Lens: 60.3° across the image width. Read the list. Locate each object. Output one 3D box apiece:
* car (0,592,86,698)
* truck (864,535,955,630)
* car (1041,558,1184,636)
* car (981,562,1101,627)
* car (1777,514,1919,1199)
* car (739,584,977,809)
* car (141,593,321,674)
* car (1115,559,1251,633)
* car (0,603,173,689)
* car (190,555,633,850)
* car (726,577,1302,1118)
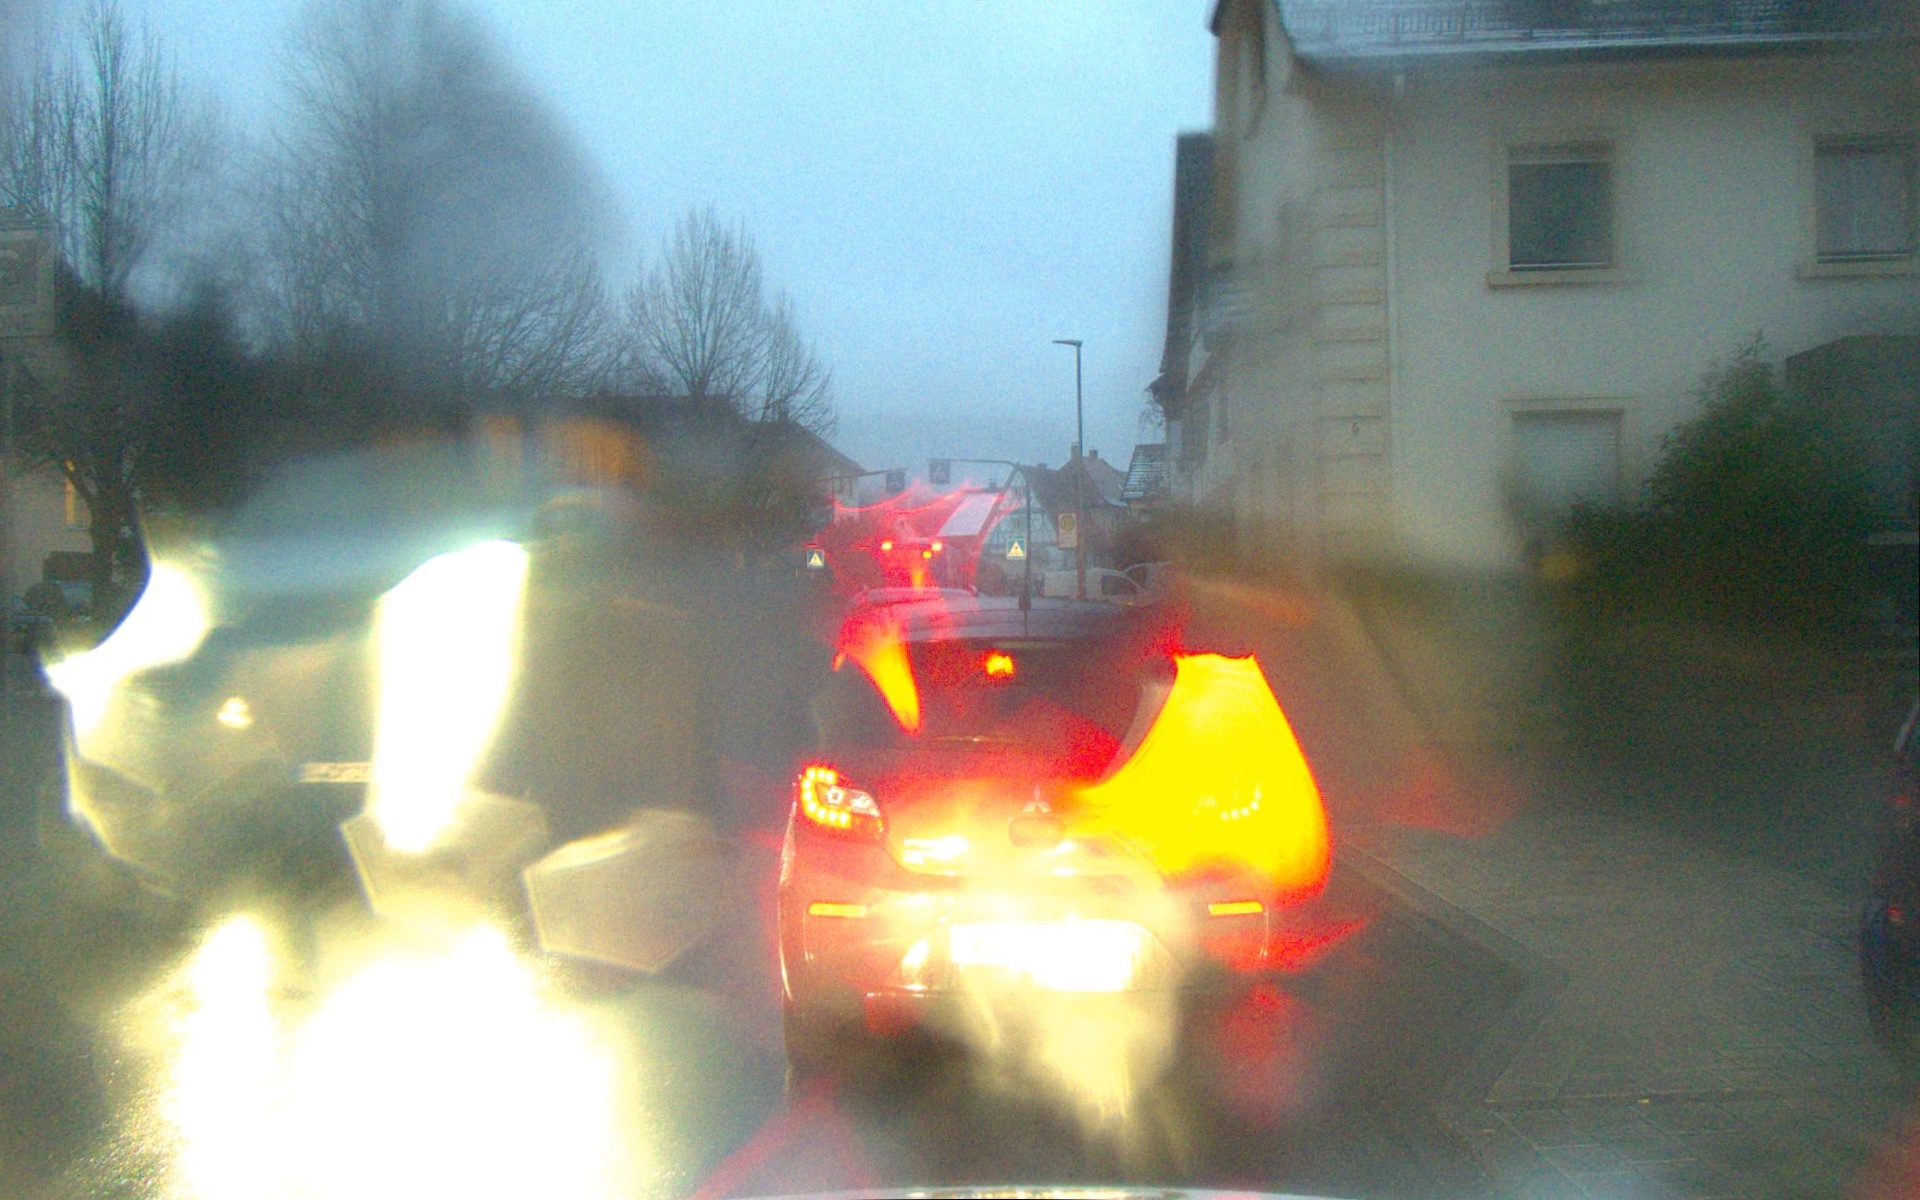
[{"bbox_3d":[-19.810,0.869,33.217,3.903,2.023,1.820,0,0,19],"label":"car"},{"bbox_3d":[-1.703,-0.616,59.676,2.953,3.183,8.001,0,0,1],"label":"truck"},{"bbox_3d":[4.427,-0.080,47.948,4.010,2.200,1.915,0,0,6],"label":"car"},{"bbox_3d":[2.809,-0.195,56.957,4.010,2.189,1.915,0,0,6],"label":"car"},{"bbox_3d":[4.028,0.570,3.513,3.795,1.607,1.680,-1,0,-6],"label":"car"},{"bbox_3d":[-0.751,0.640,12.844,1.605,1.507,3.270,0,1,-2],"label":"car"},{"bbox_3d":[-18.182,0.803,41.300,3.903,1.944,1.820,0,0,19],"label":"car"},{"bbox_3d":[6.755,-0.134,50.254,4.010,2.189,1.915,0,0,6],"label":"car"},{"bbox_3d":[-19.400,0.964,36.020,3.903,1.760,1.820,0,1,19],"label":"car"},{"bbox_3d":[-3.489,0.542,11.424,1.774,1.624,4.397,0,1,-3],"label":"car"},{"bbox_3d":[0.133,0.688,6.314,1.604,1.507,3.378,0,0,-1],"label":"car"}]
